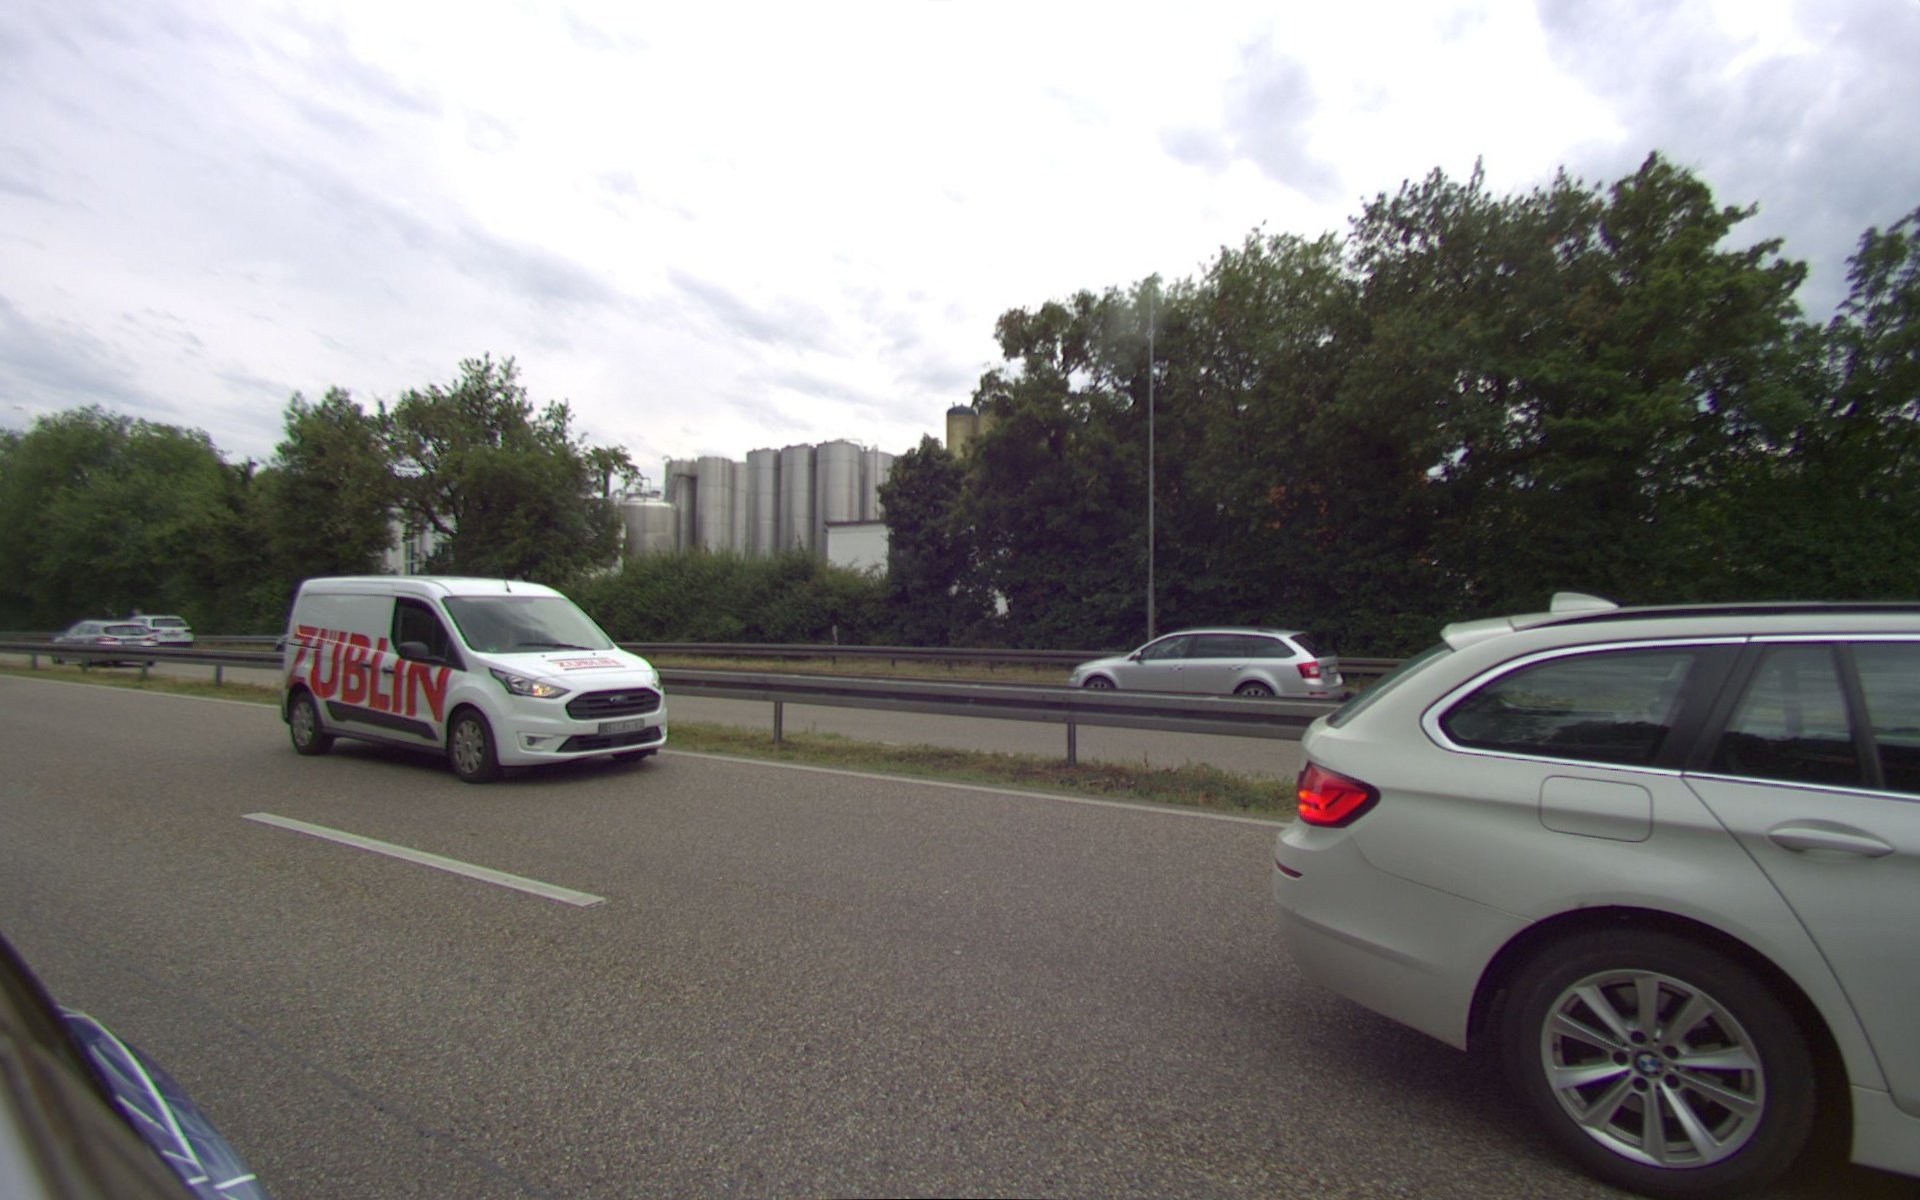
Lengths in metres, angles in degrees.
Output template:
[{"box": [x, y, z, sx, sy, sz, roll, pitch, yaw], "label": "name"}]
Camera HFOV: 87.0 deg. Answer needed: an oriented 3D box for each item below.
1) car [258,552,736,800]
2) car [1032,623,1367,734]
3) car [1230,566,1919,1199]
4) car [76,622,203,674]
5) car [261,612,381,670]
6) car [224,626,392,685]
[{"box": [-4.609, 0.623, 9.773, 4.993, 1.864, 1.831, -1, -2, 34], "label": "car"}, {"box": [3.887, 1.203, 17.017, 5.266, 1.604, 1.679, -1, -2, 36], "label": "car"}, {"box": [3.483, 0.680, 2.196, 5.246, 1.475, 2.040, -1, -2, 36], "label": "car"}, {"box": [-25.927, 1.463, 31.948, 4.387, 1.539, 1.845, -1, -2, 33], "label": "car"}, {"box": [-20.789, 1.313, 32.889, 4.264, 1.780, 1.562, -1, -2, 32], "label": "car"}, {"box": [-17.334, 1.424, 26.873, 4.642, 1.460, 1.672, -1, -2, 28], "label": "car"}]
